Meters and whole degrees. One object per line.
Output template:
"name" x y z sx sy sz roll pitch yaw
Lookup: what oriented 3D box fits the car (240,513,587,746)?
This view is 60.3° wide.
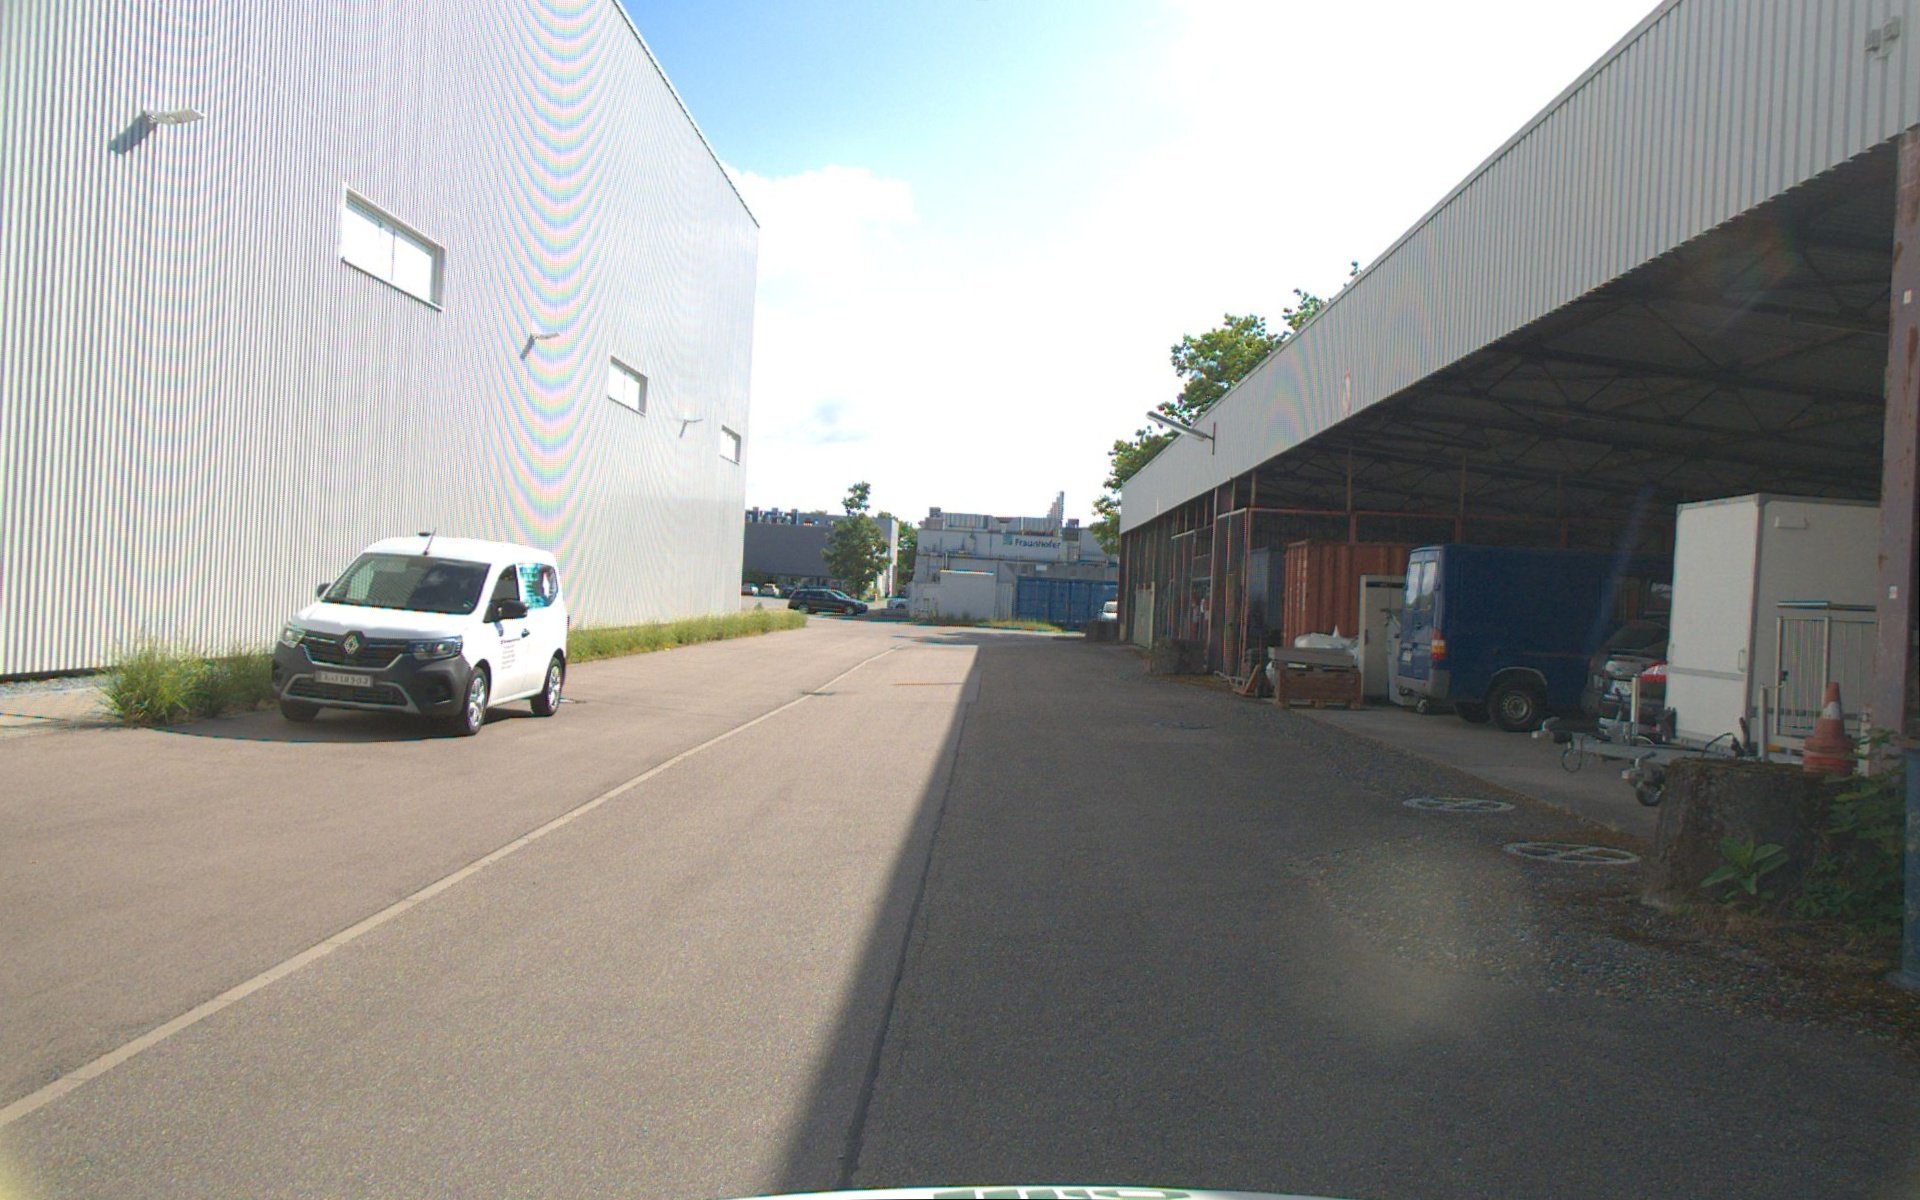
"car" -5.246 0.251 16.565 1.852 1.877 4.359 5 0 0

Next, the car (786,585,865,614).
"car" -8.030 -0.043 98.793 4.432 1.534 1.909 2 0 3

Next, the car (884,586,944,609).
"car" -3.492 -0.184 126.344 4.432 1.534 1.909 2 0 2

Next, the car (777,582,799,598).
"car" -20.231 -1.167 194.373 2.148 1.766 4.000 1 0 0

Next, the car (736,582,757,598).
"car" -25.245 -1.182 195.797 1.952 1.766 4.000 1 0 0

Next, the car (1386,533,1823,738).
"car" 8.296 0.433 21.644 4.876 2.366 2.000 2 0 1

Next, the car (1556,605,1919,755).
"car" 9.021 0.881 18.671 3.908 1.498 1.787 2 0 -4

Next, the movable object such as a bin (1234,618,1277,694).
"movable object such as a bin" 4.878 0.914 27.362 0.569 1.185 1.239 2 0 5

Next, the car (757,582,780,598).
"car" -22.707 -1.170 196.112 2.148 1.766 4.000 1 0 0

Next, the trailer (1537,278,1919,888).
"trailer" 9.059 0.042 10.355 9.831 3.272 2.854 2 0 1

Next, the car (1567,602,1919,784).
"car" 8.172 0.853 15.550 4.241 1.522 1.777 2 0 -2

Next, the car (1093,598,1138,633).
"car" 8.042 0.784 85.848 1.953 1.613 4.173 2 2 0

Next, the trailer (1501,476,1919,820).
"trailer" 6.883 0.375 12.923 4.711 2.433 1.828 2 0 6
